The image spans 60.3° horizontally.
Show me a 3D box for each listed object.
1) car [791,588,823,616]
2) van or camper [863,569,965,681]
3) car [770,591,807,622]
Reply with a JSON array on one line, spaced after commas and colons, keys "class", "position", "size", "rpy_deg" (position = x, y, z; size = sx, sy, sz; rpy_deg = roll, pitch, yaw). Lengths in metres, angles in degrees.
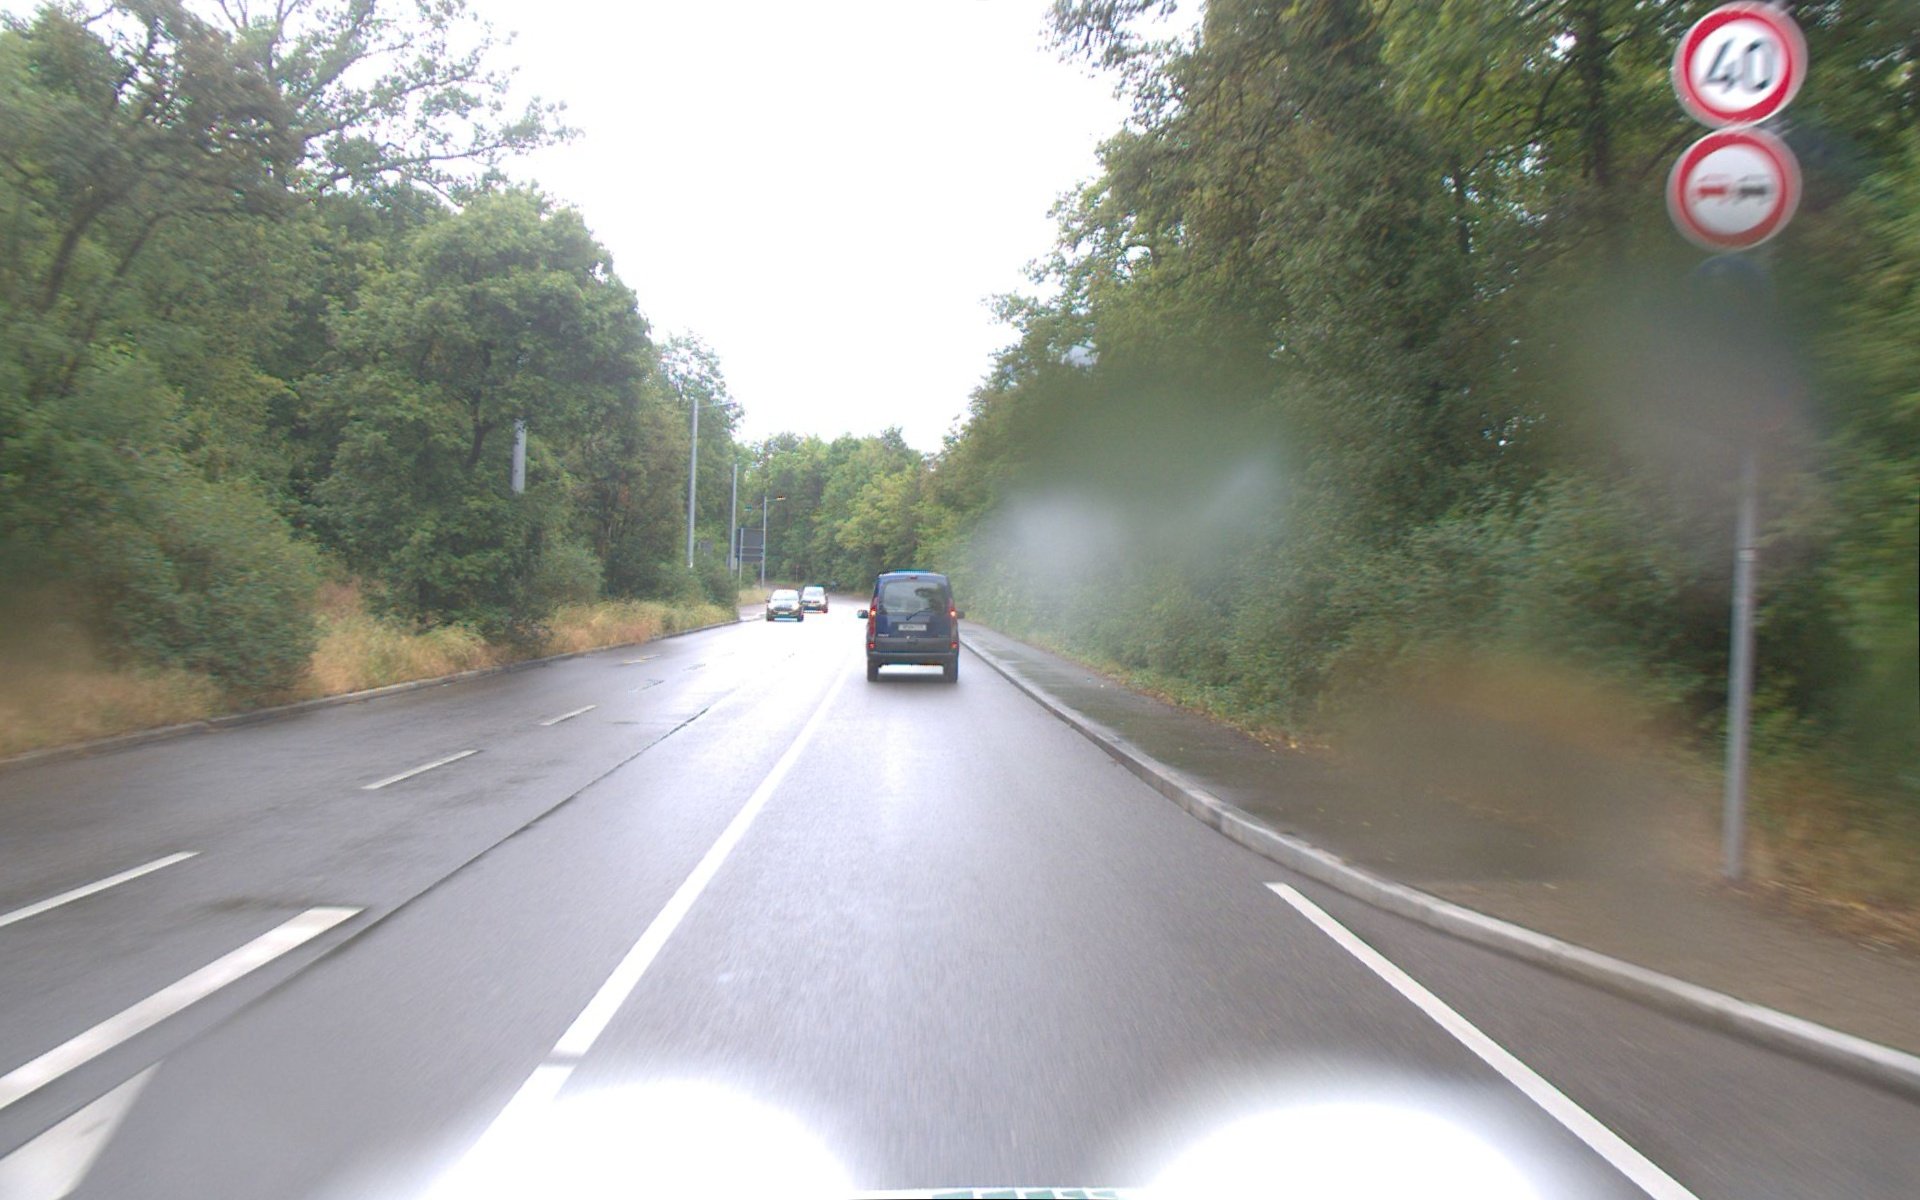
[{"class": "car", "position": [-9.542, 0.108, 103.418], "size": [1.736, 1.638, 4.082], "rpy_deg": [2, 0, -2]}, {"class": "van or camper", "position": [-0.878, 0.412, 29.751], "size": [1.678, 1.858, 3.998], "rpy_deg": [-1, 0, -3]}, {"class": "car", "position": [-8.312, 0.307, 80.155], "size": [1.567, 1.466, 3.988], "rpy_deg": [0, 0, -3]}]
